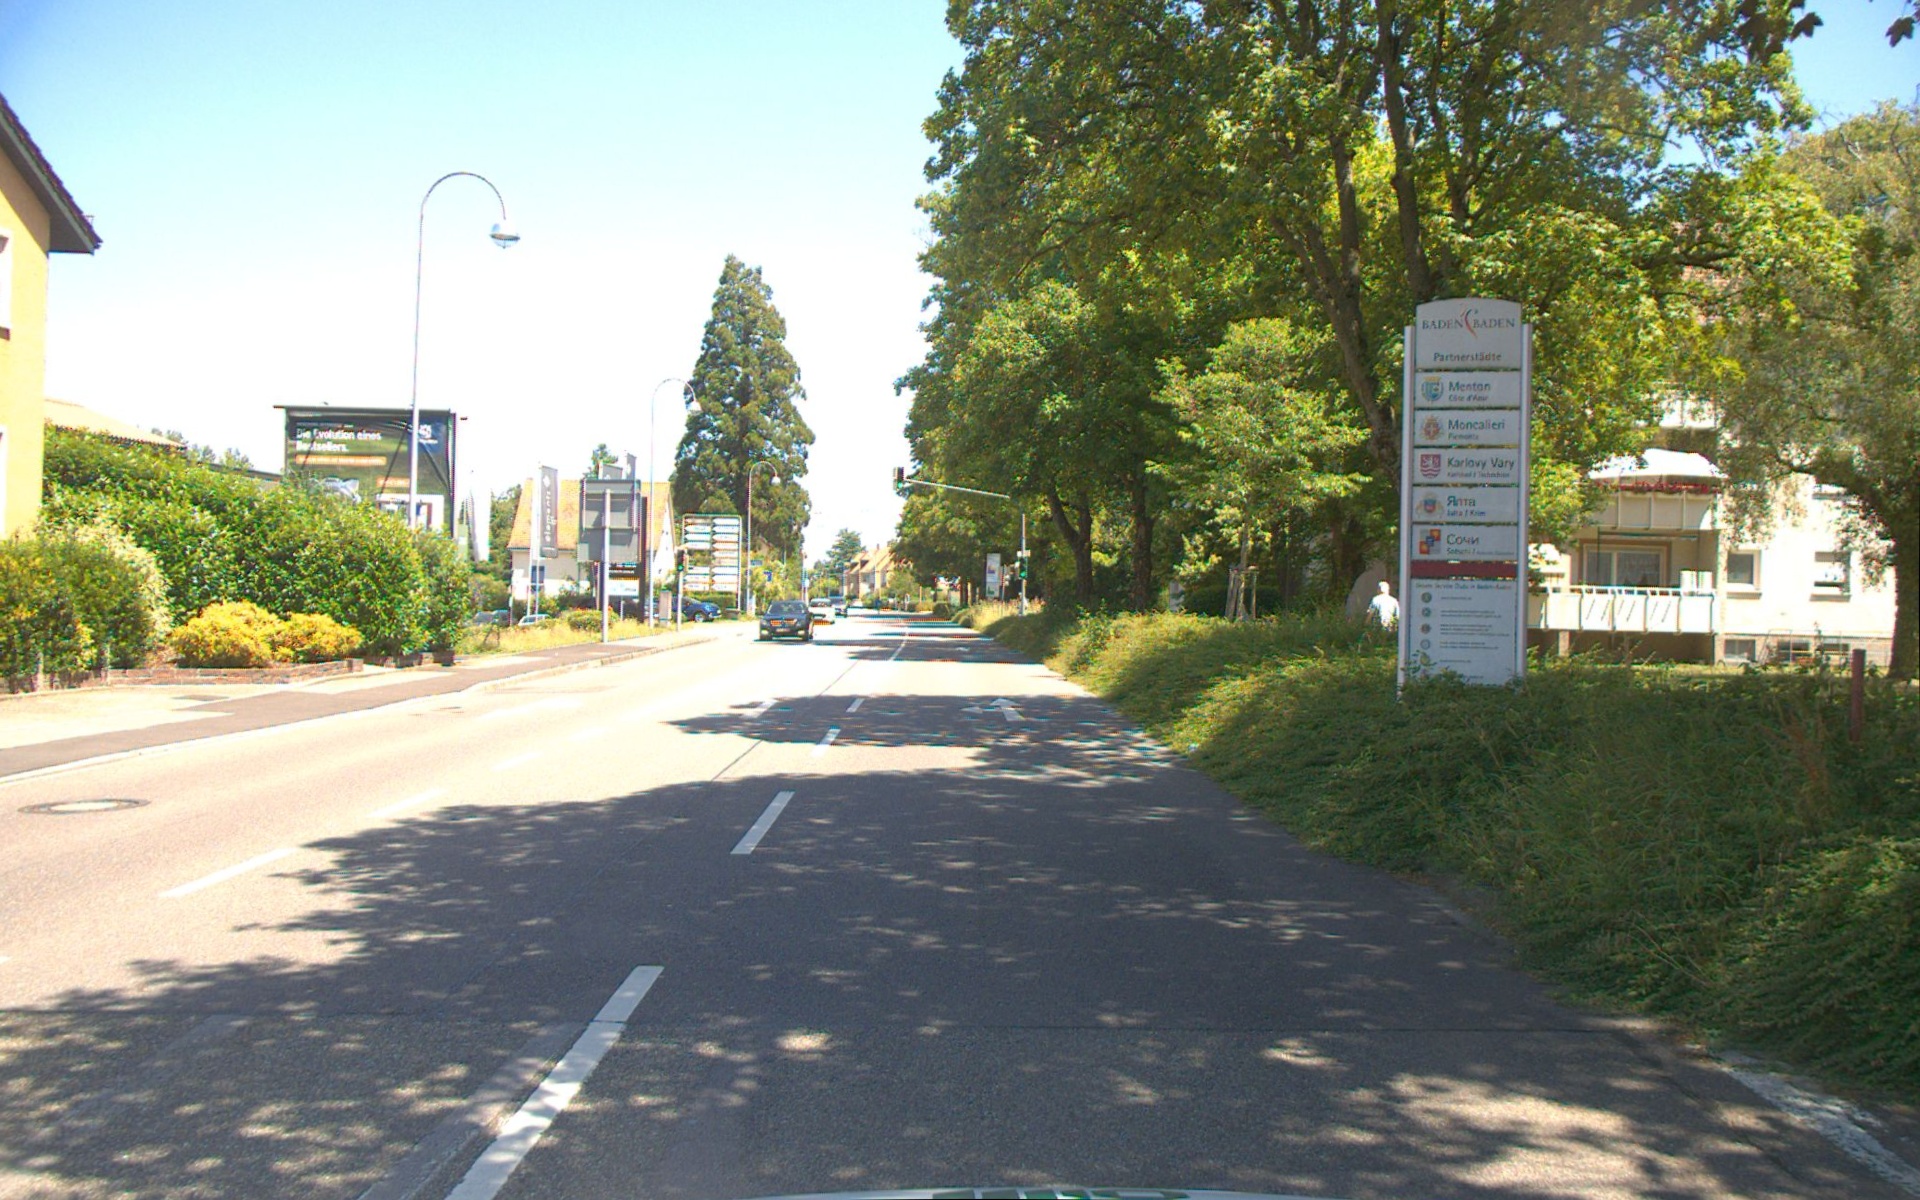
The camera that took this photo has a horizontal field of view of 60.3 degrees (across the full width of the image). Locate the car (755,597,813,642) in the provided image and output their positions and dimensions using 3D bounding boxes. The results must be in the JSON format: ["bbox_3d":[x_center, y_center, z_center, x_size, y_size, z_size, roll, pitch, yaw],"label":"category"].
[{"bbox_3d":[-6.306,0.672,59.491,1.675,1.521,4.276,1,0,-1],"label":"car"}]

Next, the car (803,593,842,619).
[{"bbox_3d":[-8.338,0.370,100.483,1.953,1.513,4.309,1,0,0],"label":"car"}]

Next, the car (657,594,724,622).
[{"bbox_3d":[-14.841,0.453,91.284,3.420,1.452,1.600,1,0,-1],"label":"car"}]

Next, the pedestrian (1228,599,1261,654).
[{"bbox_3d":[7.175,0.677,41.687,0.648,1.358,0.889,1,-1,0],"label":"pedestrian"}]

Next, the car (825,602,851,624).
[{"bbox_3d":[-9.858,1.041,134.221,1.841,1.748,4.309,1,0,-1],"label":"car"}]

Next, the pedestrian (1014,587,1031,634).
[{"bbox_3d":[2.415,0.406,63.919,0.600,1.782,0.562,1,-1,4],"label":"pedestrian"}]

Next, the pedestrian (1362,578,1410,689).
[{"bbox_3d":[7.592,0.589,29.492,0.689,1.948,0.660,1,-1,3],"label":"pedestrian"}]
